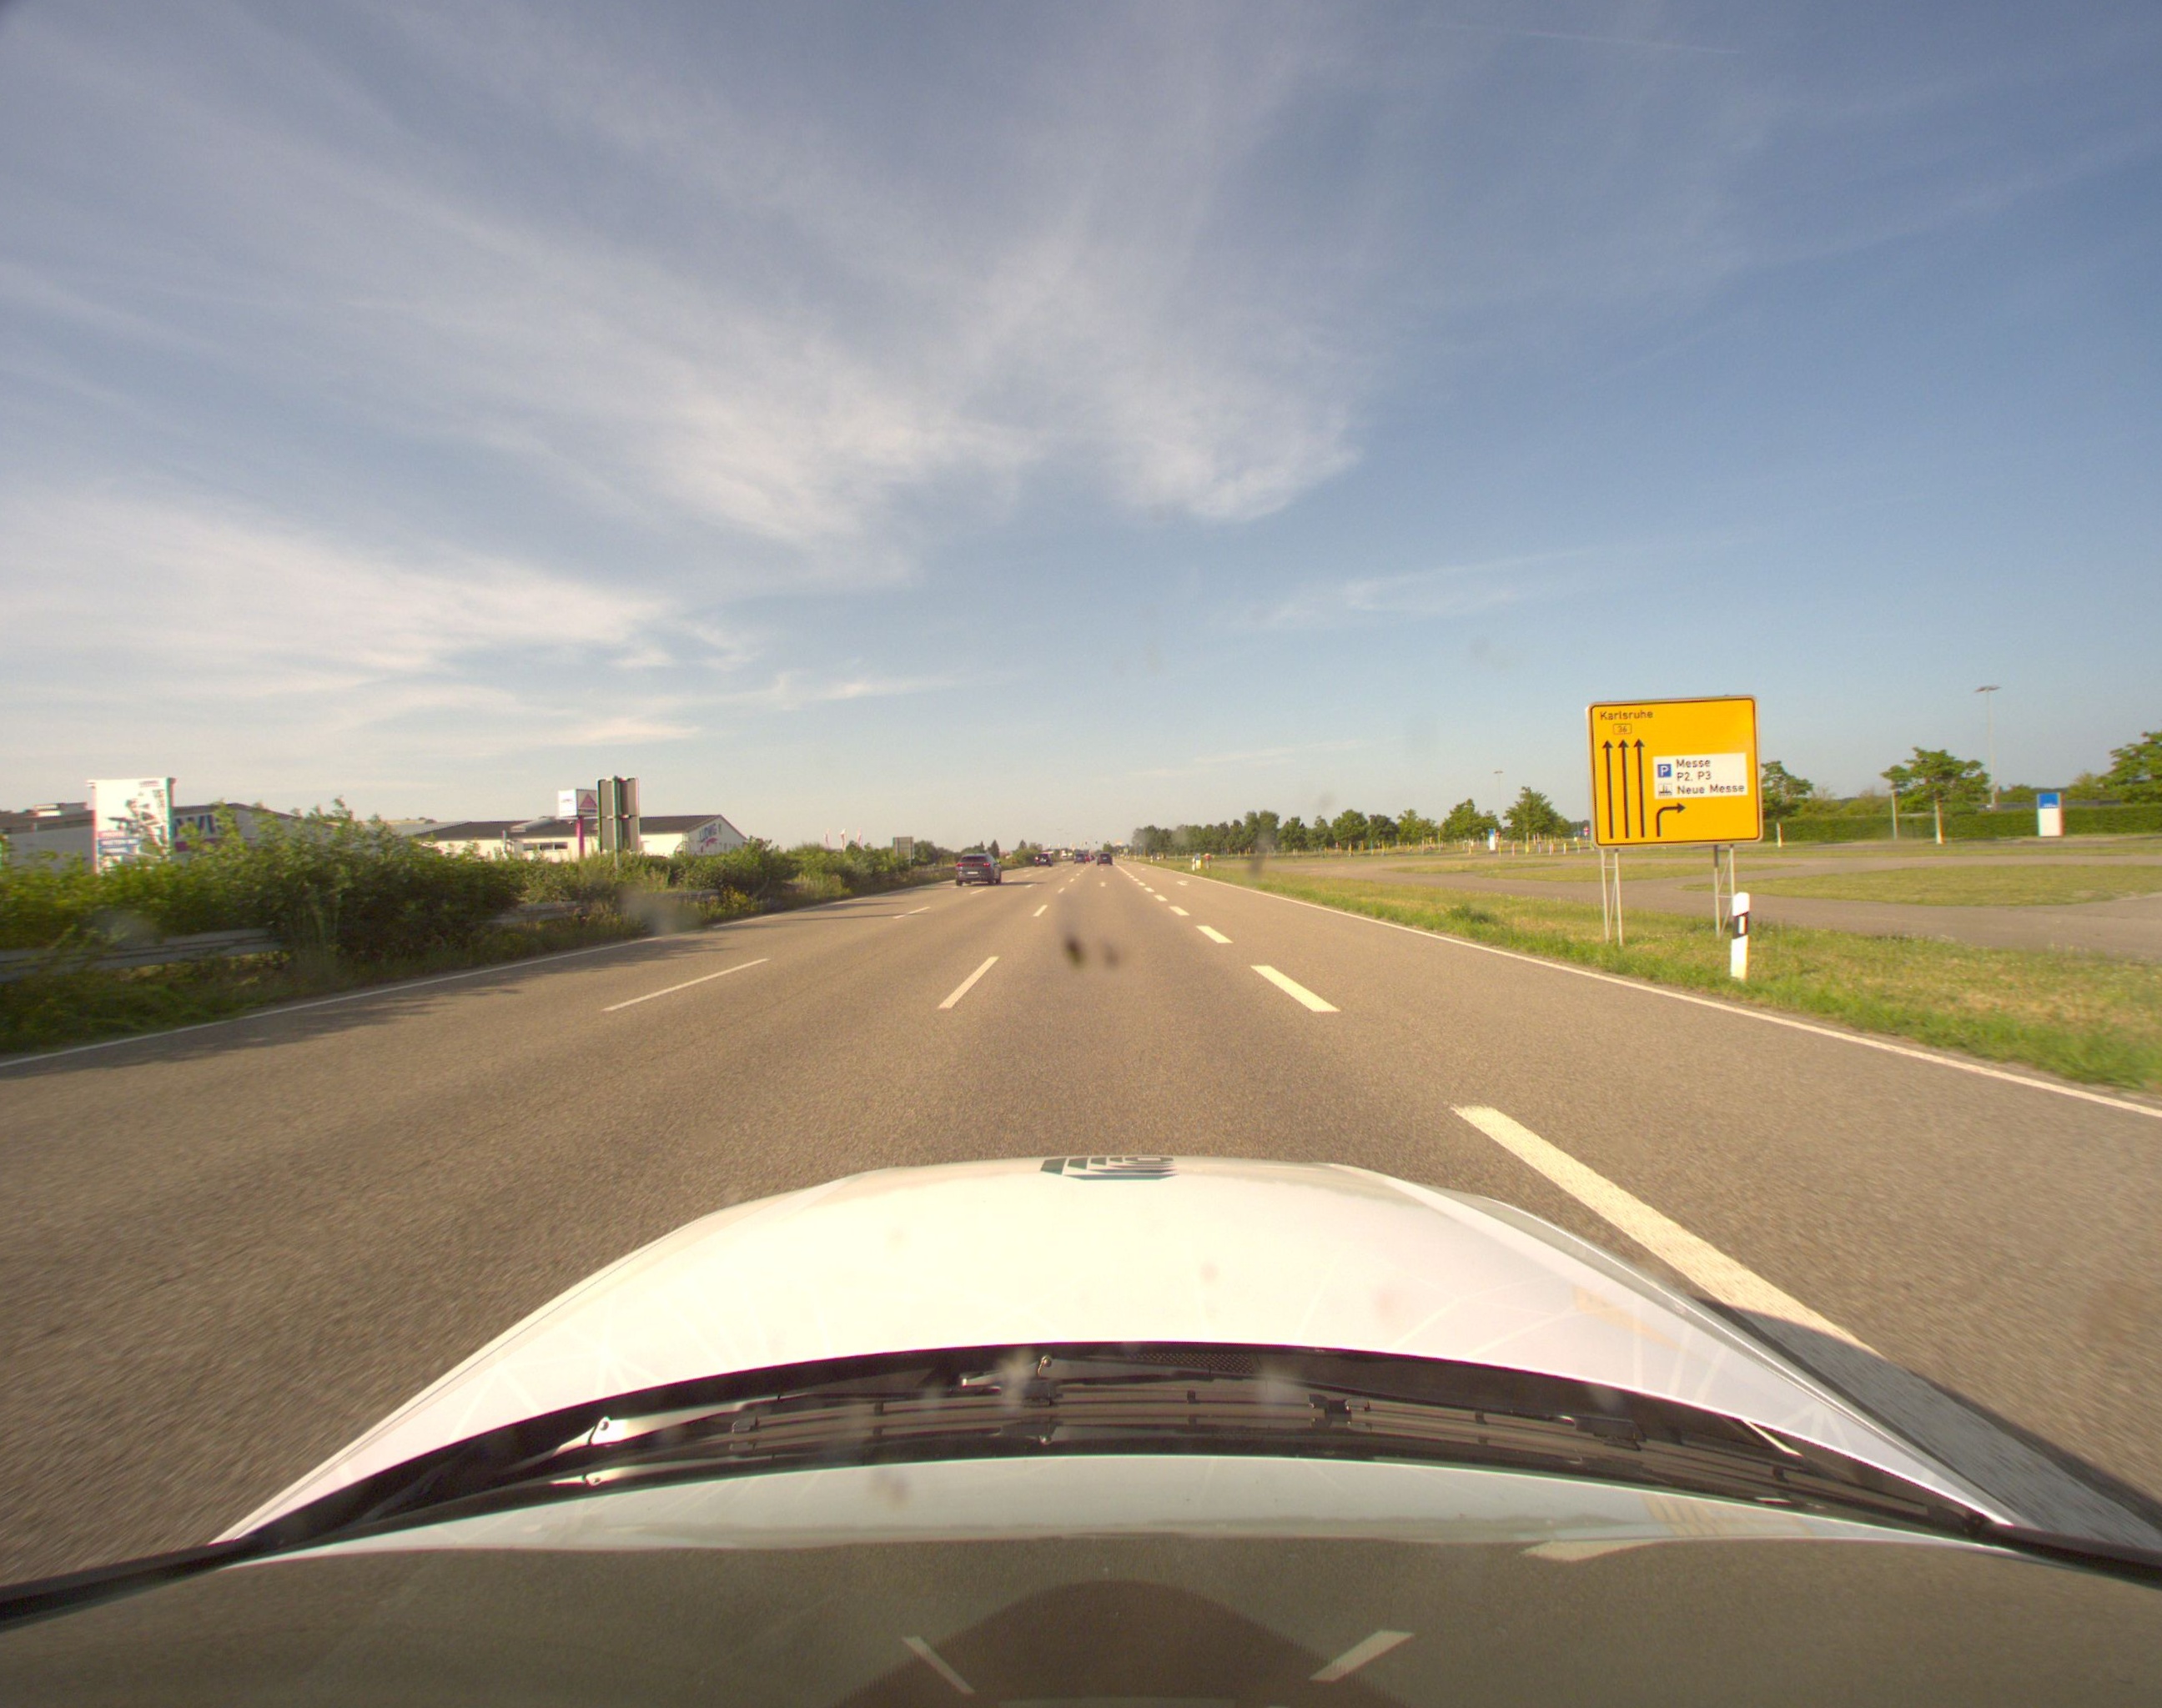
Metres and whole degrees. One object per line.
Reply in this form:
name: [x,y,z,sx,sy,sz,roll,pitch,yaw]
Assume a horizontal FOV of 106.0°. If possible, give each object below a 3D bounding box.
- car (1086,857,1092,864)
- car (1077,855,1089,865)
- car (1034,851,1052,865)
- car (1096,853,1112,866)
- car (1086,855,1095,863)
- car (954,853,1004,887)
car: [1.987,1.624,200.111,1.639,1.728,3.401,-1,-1,1]
car: [0.283,0.896,127.726,1.806,1.463,4.402,0,0,1]
car: [-4.627,0.489,99.557,1.925,1.680,4.402,0,0,1]
car: [2.964,0.697,104.577,1.925,1.680,4.402,0,0,1]
car: [1.830,0.930,152.723,1.641,1.463,3.982,0,0,1]
car: [-5.089,0.747,41.046,1.839,1.612,4.402,0,0,1]
